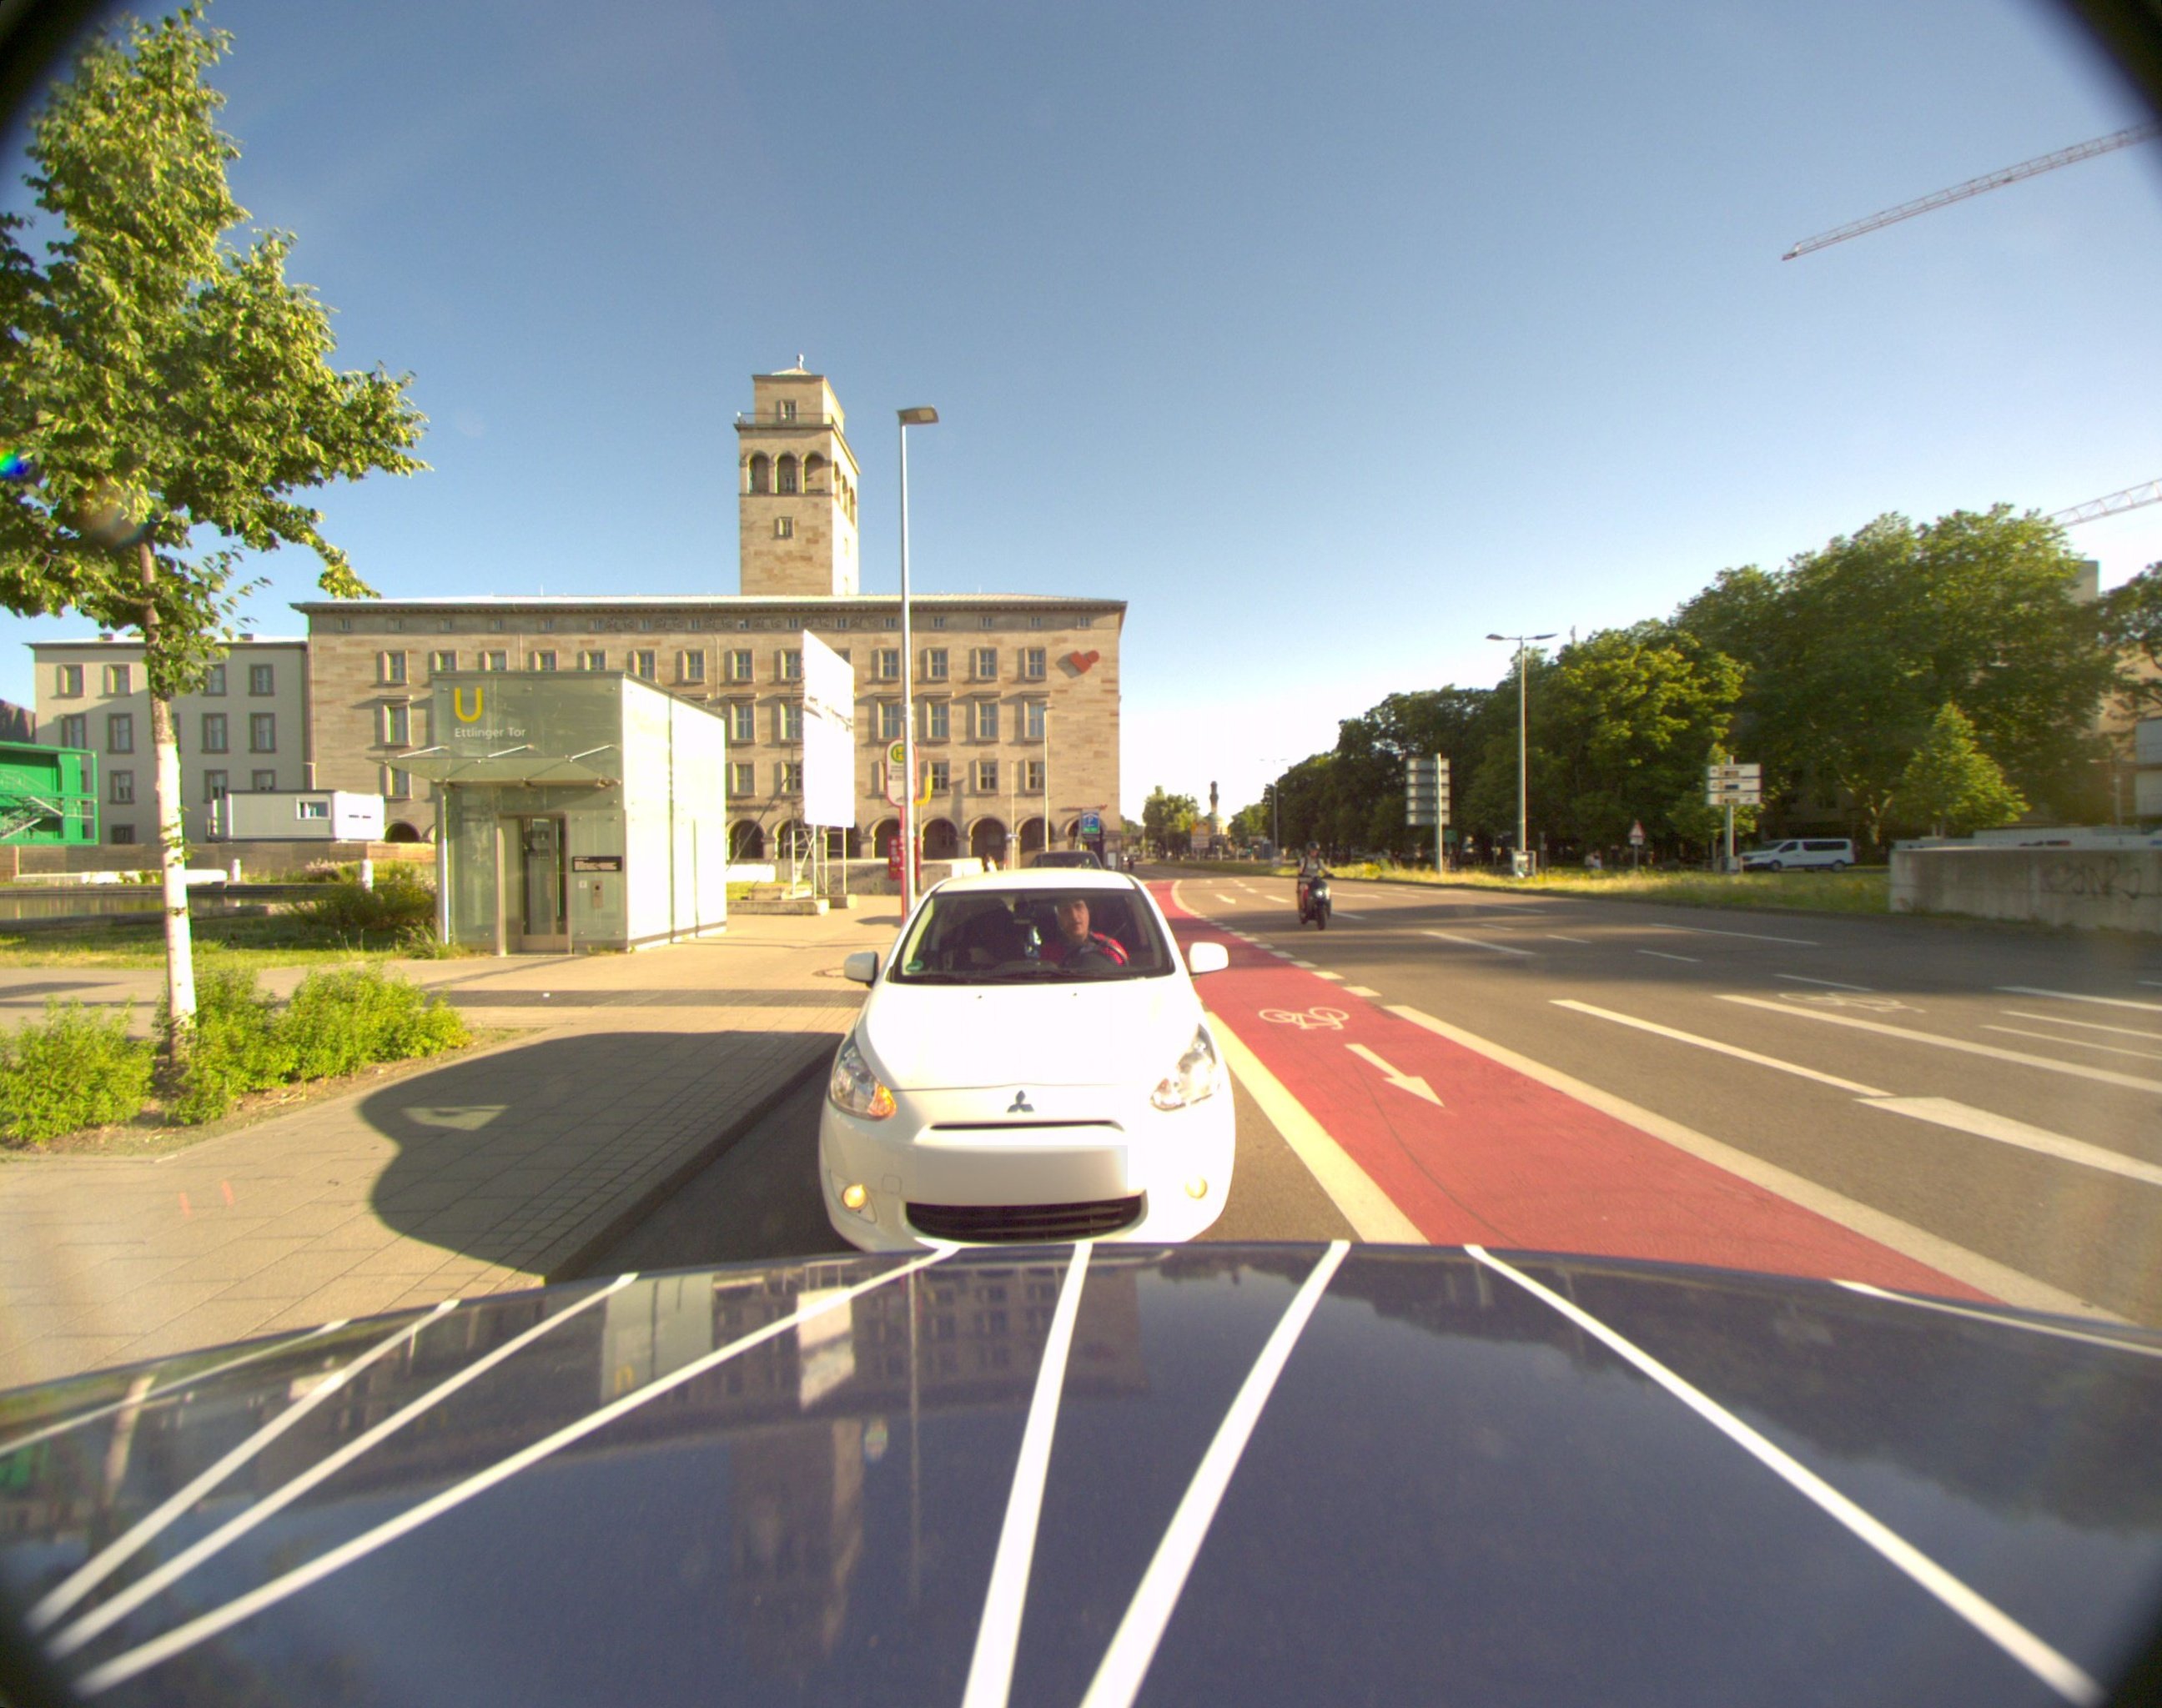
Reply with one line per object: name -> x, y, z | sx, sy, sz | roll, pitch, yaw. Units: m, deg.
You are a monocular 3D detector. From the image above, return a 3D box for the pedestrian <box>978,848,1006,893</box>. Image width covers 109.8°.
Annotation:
pedestrian -> -3.578, 0.644, 30.668 | 0.942, 1.776, 1.072 | -1, 1, 1

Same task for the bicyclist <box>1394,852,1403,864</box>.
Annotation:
bicyclist -> 32.351, 0.394, 77.447 | 0.610, 1.274, 0.715 | -1, 1, -1

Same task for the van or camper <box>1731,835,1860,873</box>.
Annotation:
van or camper -> 42.304, -0.029, 45.074 | 5.649, 2.002, 1.948 | -2, 1, 2

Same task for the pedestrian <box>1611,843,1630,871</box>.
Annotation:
pedestrian -> 34.023, 0.172, 47.900 | 0.707, 1.715, 0.762 | -1, 1, 4

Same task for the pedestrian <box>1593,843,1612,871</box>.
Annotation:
pedestrian -> 32.827, 0.189, 47.818 | 0.665, 1.715, 0.762 | -1, 1, 1

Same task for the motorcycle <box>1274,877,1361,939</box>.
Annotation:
motorcycle -> 4.534, 1.002, 14.776 | 0.974, 1.008, 2.267 | -2, 0, 1

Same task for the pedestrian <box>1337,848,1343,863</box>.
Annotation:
pedestrian -> 32.593, 0.222, 95.576 | 0.568, 1.837, 0.734 | -1, 1, -1

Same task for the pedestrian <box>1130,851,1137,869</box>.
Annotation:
pedestrian -> 5.392, 0.618, 78.095 | 0.704, 1.843, 0.828 | -1, 1, 0

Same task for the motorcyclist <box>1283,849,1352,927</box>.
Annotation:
motorcyclist -> 4.522, 0.633, 14.601 | 0.974, 1.405, 1.058 | -2, 1, 1

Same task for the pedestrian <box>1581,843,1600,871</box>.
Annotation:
pedestrian -> 31.977, 0.194, 47.714 | 0.707, 1.715, 0.762 | -1, 1, 1

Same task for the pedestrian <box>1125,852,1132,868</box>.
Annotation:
pedestrian -> 5.387, 0.693, 86.795 | 0.704, 1.843, 0.828 | -1, 1, 0

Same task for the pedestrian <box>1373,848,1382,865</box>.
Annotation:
pedestrian -> 32.398, 0.255, 83.120 | 0.628, 1.837, 0.925 | -1, 1, -1

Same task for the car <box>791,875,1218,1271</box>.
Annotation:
car -> -0.183, 0.952, 4.998 | 1.678, 1.440, 3.890 | -2, 0, 4

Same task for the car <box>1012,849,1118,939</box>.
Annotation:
car -> -0.276, 0.753, 16.652 | 1.998, 1.709, 4.326 | -1, 0, 1

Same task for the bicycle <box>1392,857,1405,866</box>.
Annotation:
bicycle -> 32.354, 0.750, 77.454 | 0.610, 0.838, 1.745 | -1, 0, -1
